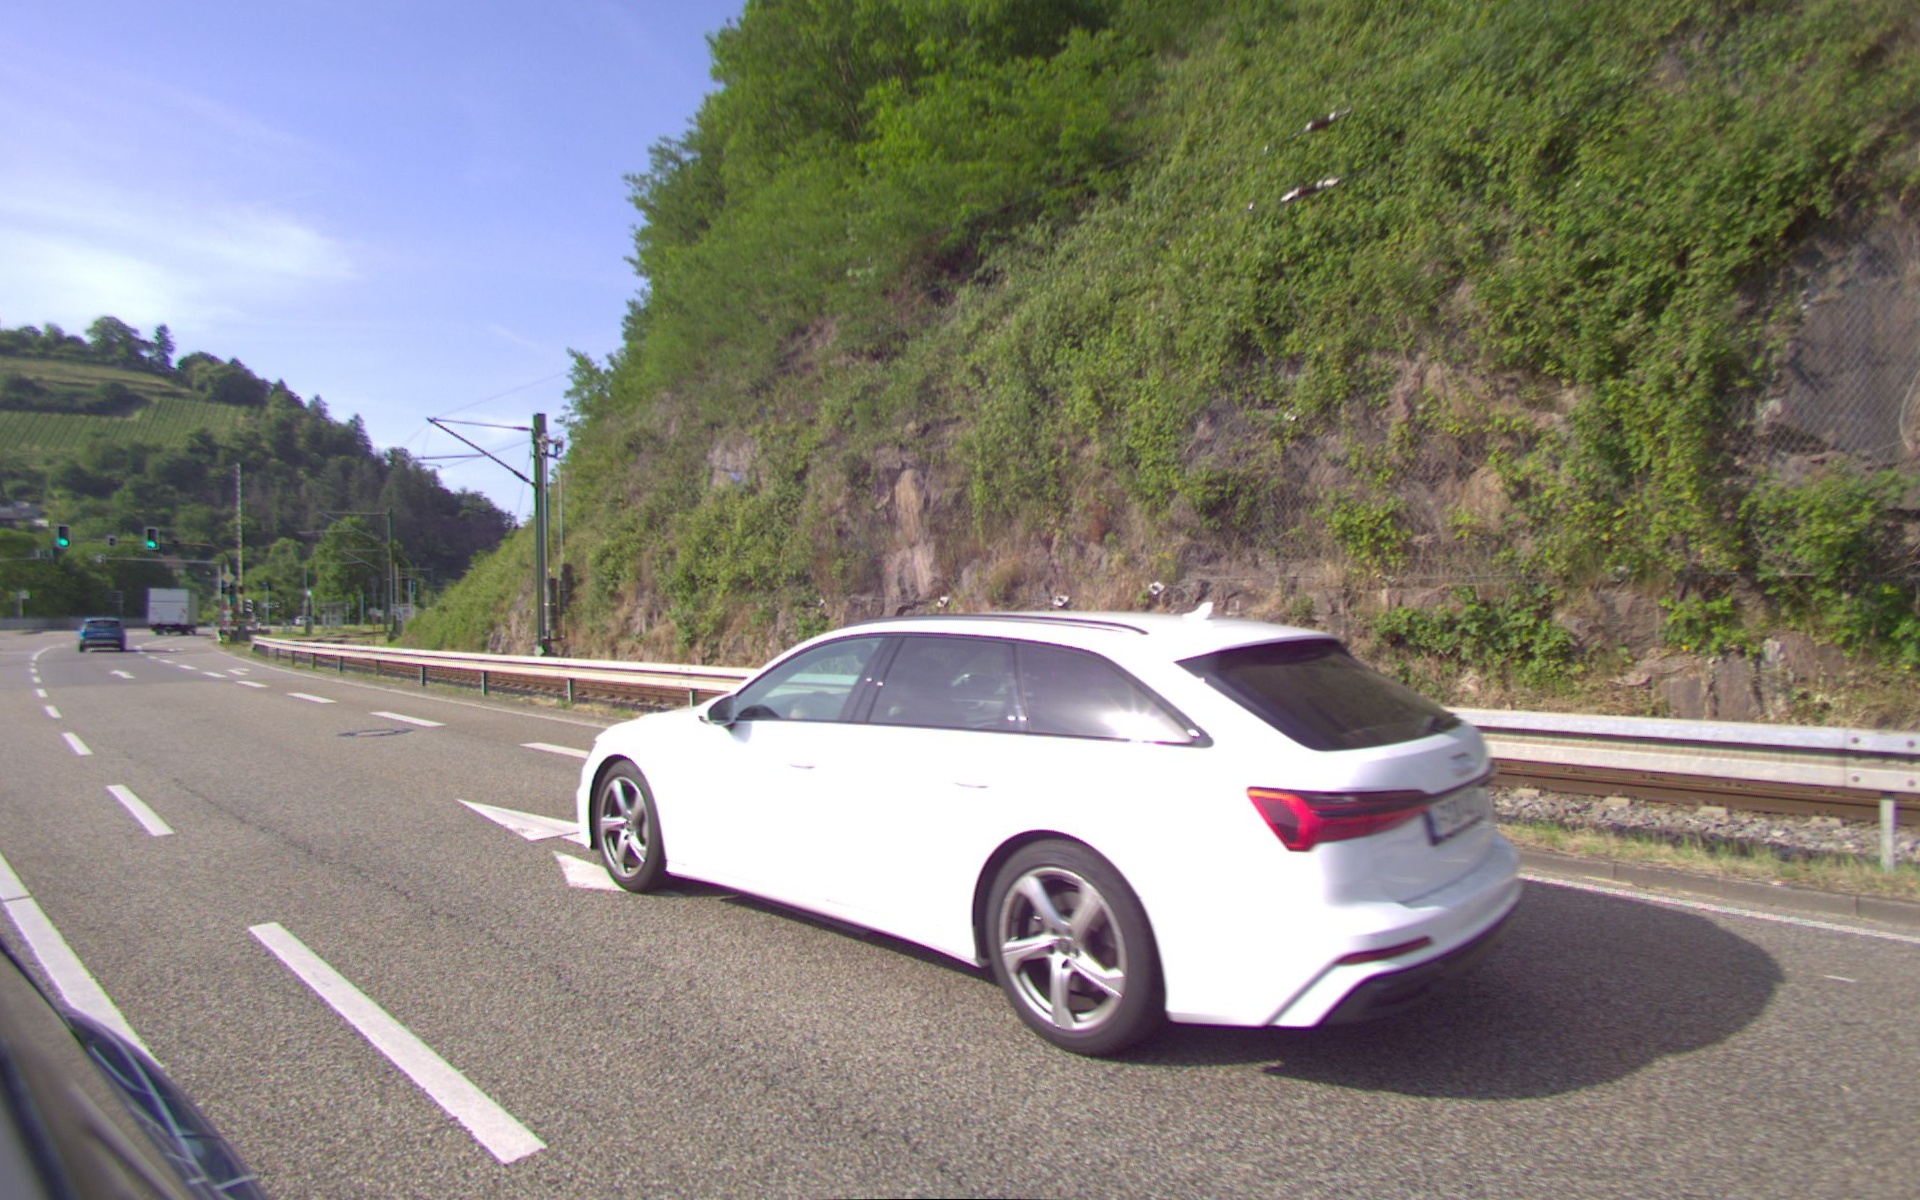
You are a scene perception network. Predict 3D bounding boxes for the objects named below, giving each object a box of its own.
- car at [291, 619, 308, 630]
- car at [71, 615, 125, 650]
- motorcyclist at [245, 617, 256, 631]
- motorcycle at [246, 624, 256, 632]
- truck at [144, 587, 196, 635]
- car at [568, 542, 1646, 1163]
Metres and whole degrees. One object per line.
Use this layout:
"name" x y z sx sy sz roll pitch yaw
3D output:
"car" -98.153 3.659 150.390 1.668 1.669 4.184 0 -1 -28
"car" -40.931 1.510 48.030 1.698 1.582 4.138 0 -1 -44
"motorcyclist" -84.039 2.852 119.856 0.992 1.728 0.868 0 -1 -28
"motorcycle" -83.955 3.322 119.846 0.812 0.961 2.225 0 -1 -29
"truck" -66.045 0.987 84.777 2.858 3.828 8.916 1 -2 -35
"car" 0.214 0.645 4.740 4.687 1.450 2.040 -2 -2 44
